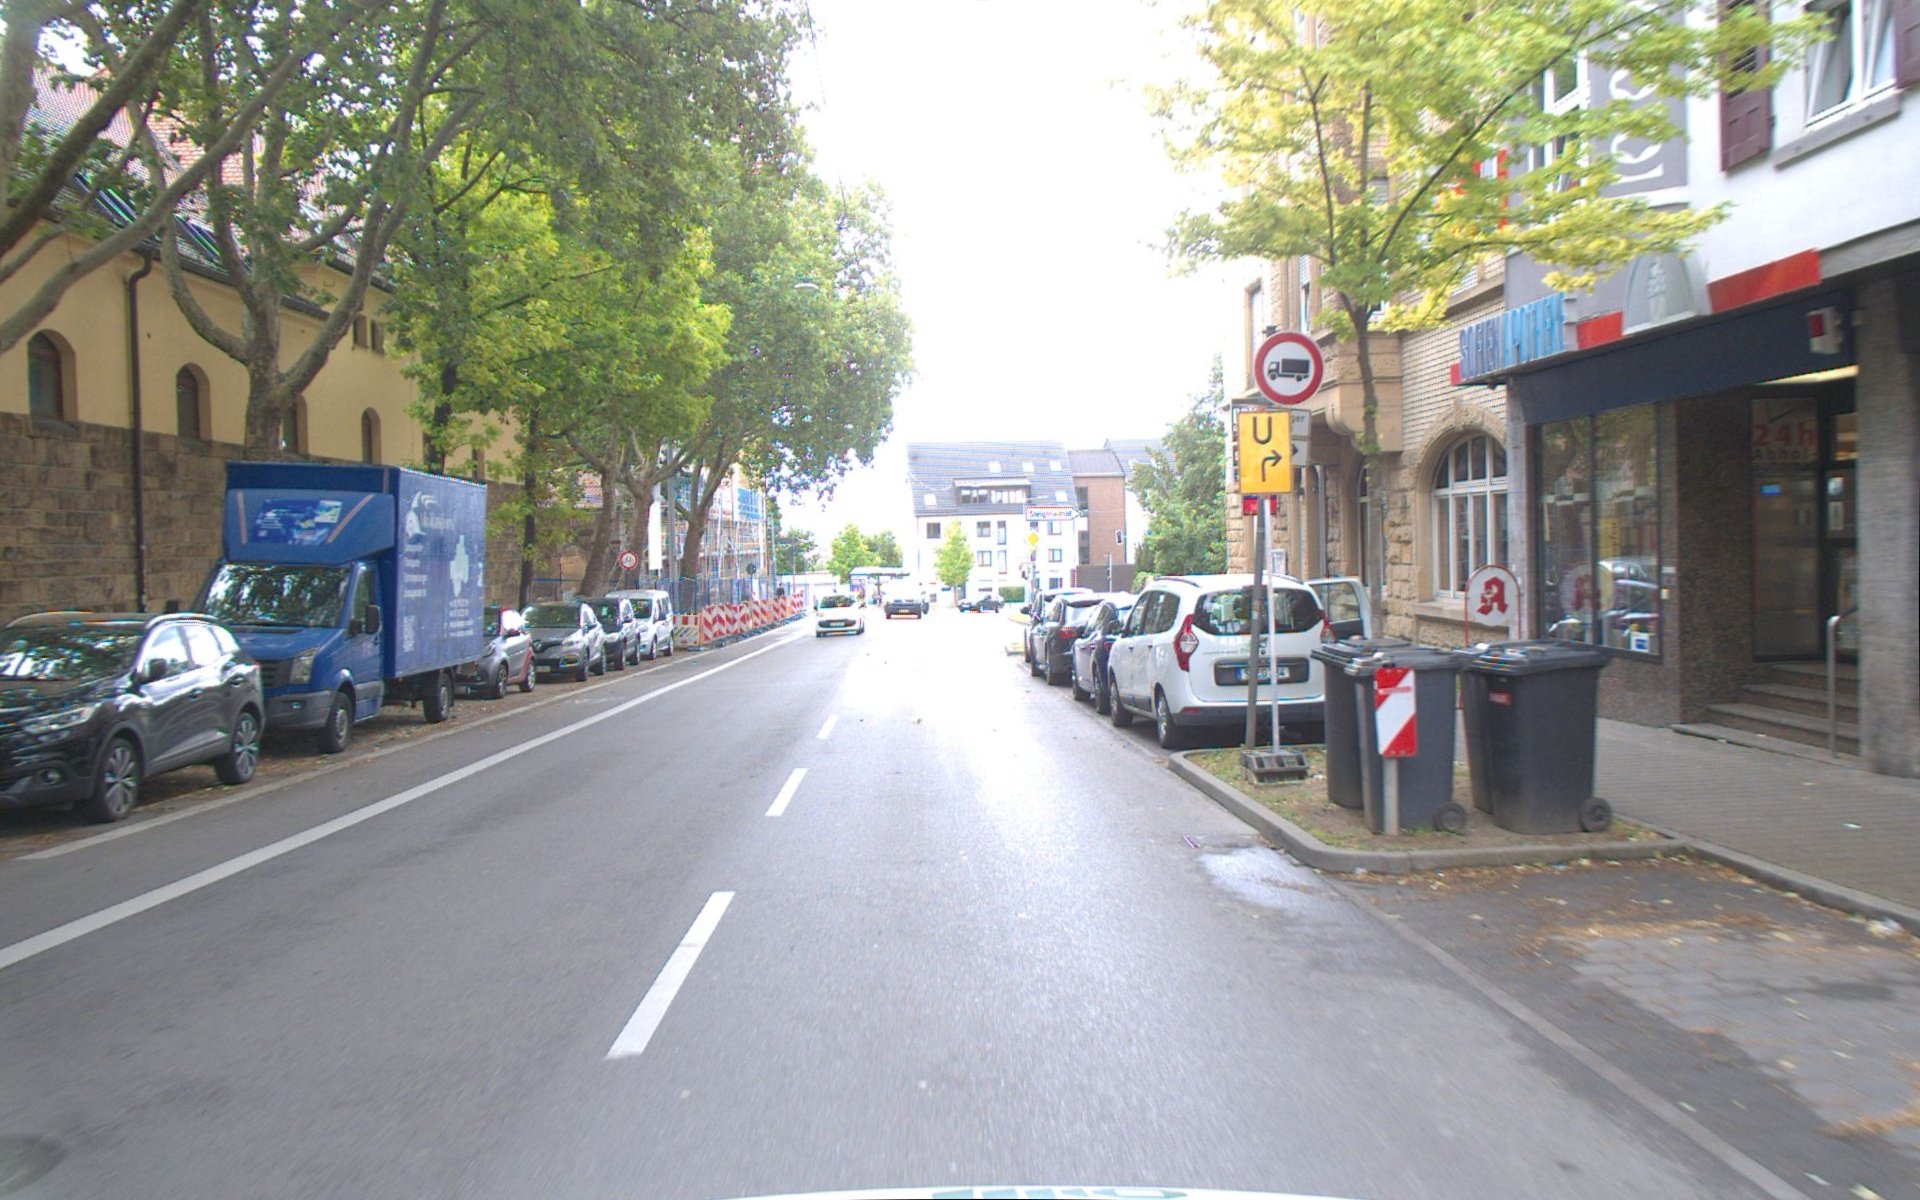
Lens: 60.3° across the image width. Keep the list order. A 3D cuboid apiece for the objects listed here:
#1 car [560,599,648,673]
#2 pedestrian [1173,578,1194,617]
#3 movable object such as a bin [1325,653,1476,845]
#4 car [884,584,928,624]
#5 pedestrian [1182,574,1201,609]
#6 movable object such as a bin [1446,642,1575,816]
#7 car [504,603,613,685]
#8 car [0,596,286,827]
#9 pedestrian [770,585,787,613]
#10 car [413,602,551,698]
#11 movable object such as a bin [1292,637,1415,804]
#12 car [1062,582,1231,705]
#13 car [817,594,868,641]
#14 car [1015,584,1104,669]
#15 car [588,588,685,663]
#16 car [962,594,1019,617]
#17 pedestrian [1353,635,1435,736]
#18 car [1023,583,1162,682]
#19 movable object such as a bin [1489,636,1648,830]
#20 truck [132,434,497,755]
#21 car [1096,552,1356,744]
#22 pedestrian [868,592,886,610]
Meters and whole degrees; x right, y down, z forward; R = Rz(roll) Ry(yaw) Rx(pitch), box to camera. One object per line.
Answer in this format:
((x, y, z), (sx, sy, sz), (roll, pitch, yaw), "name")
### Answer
((-8.497, 0.839, 39.757), (1.478, 1.660, 4.112), (0, -1, -4), "car")
((10.285, -0.124, 76.118), (0.703, 1.765, 0.653), (2, -2, -34), "pedestrian")
((2.592, 0.859, 9.775), (0.610, 1.042, 0.695), (-2, 0, -9), "movable object such as a bin")
((-2.721, 0.234, 84.467), (2.160, 1.965, 5.239), (0, 0, -1), "car")
((11.080, -0.408, 79.141), (0.574, 1.612, 0.569), (-4, 1, -30), "pedestrian")
((3.496, 0.803, 10.540), (0.566, 1.042, 0.623), (-1, 0, -4), "movable object such as a bin")
((-8.351, 0.888, 34.684), (1.563, 1.601, 4.083), (0, -1, -5), "car")
((-7.520, 0.840, 14.403), (1.696, 1.718, 4.250), (0, 0, -2), "car")
((-11.391, -0.041, 103.887), (0.904, 1.750, 0.799), (0, -1, 1), "pedestrian")
((-8.368, 0.851, 29.162), (1.449, 1.601, 2.992), (0, -1, 2), "car")
((2.635, 0.789, 11.121), (0.610, 1.042, 0.696), (-1, 1, -4), "movable object such as a bin")
((2.429, 0.533, 22.514), (1.574, 1.421, 4.274), (-3, 0, -3), "car")
((-4.137, 0.590, 58.618), (1.551, 1.489, 3.651), (-4, 0, -1), "car")
((2.053, 0.524, 35.088), (1.533, 1.638, 3.653), (-2, 0, -1), "car")
((-8.823, 0.654, 45.450), (1.797, 1.909, 4.415), (-2, 0, -1), "car")
((2.013, 0.371, 111.087), (3.617, 1.451, 1.702), (-1, 0, -8), "car")
((4.261, 0.827, 16.271), (0.612, 0.957, 0.693), (0, 0, -2), "pedestrian")
((2.211, 0.518, 28.866), (1.704, 1.488, 4.772), (-3, 0, -3), "car")
((3.585, 0.768, 9.778), (0.681, 1.092, 0.623), (0, 0, -5), "movable object such as a bin")
((-8.030, -0.058, 21.611), (2.171, 3.476, 7.244), (0, 0, -2), "truck")
((2.670, 0.441, 17.668), (1.646, 1.692, 4.540), (-3, 0, -4), "car")
((-5.702, 0.074, 113.341), (0.914, 1.213, 0.904), (0, -1, 27), "pedestrian")
